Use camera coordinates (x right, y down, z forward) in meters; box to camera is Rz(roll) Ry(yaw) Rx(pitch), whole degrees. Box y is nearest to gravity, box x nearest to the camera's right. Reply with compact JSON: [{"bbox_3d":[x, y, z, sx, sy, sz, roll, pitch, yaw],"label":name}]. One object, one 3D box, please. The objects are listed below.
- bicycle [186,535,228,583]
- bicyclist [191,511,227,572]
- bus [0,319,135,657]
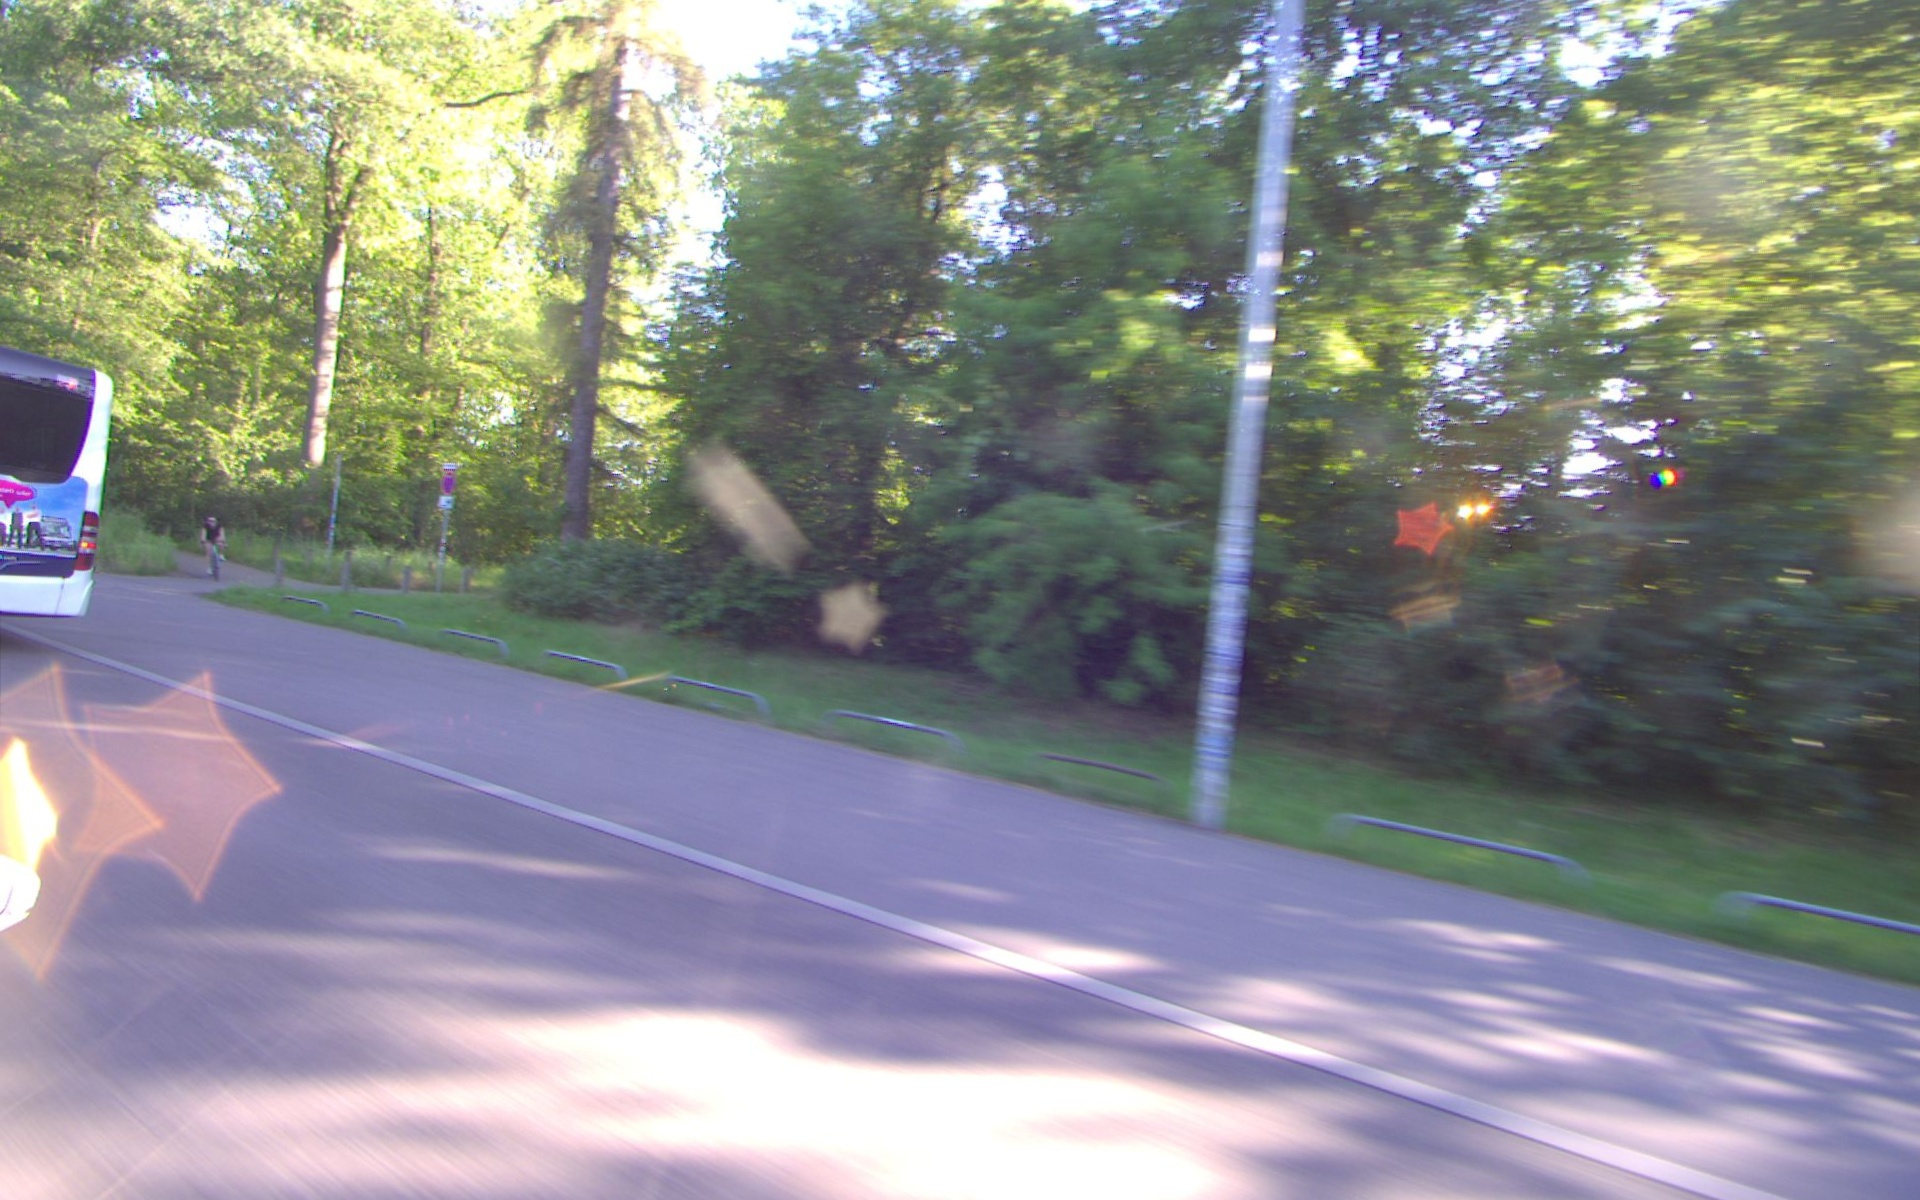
[{"bbox_3d":[-18.455,-1.004,24.632,0.548,0.979,1.735,7,1,-43],"label":"bicycle"},{"bbox_3d":[-18.422,-1.440,24.673,0.478,1.402,0.867,7,-1,-43],"label":"bicyclist"},{"bbox_3d":[-14.121,-1.624,12.160,11.844,3.079,2.693,6,-1,33],"label":"bus"}]
